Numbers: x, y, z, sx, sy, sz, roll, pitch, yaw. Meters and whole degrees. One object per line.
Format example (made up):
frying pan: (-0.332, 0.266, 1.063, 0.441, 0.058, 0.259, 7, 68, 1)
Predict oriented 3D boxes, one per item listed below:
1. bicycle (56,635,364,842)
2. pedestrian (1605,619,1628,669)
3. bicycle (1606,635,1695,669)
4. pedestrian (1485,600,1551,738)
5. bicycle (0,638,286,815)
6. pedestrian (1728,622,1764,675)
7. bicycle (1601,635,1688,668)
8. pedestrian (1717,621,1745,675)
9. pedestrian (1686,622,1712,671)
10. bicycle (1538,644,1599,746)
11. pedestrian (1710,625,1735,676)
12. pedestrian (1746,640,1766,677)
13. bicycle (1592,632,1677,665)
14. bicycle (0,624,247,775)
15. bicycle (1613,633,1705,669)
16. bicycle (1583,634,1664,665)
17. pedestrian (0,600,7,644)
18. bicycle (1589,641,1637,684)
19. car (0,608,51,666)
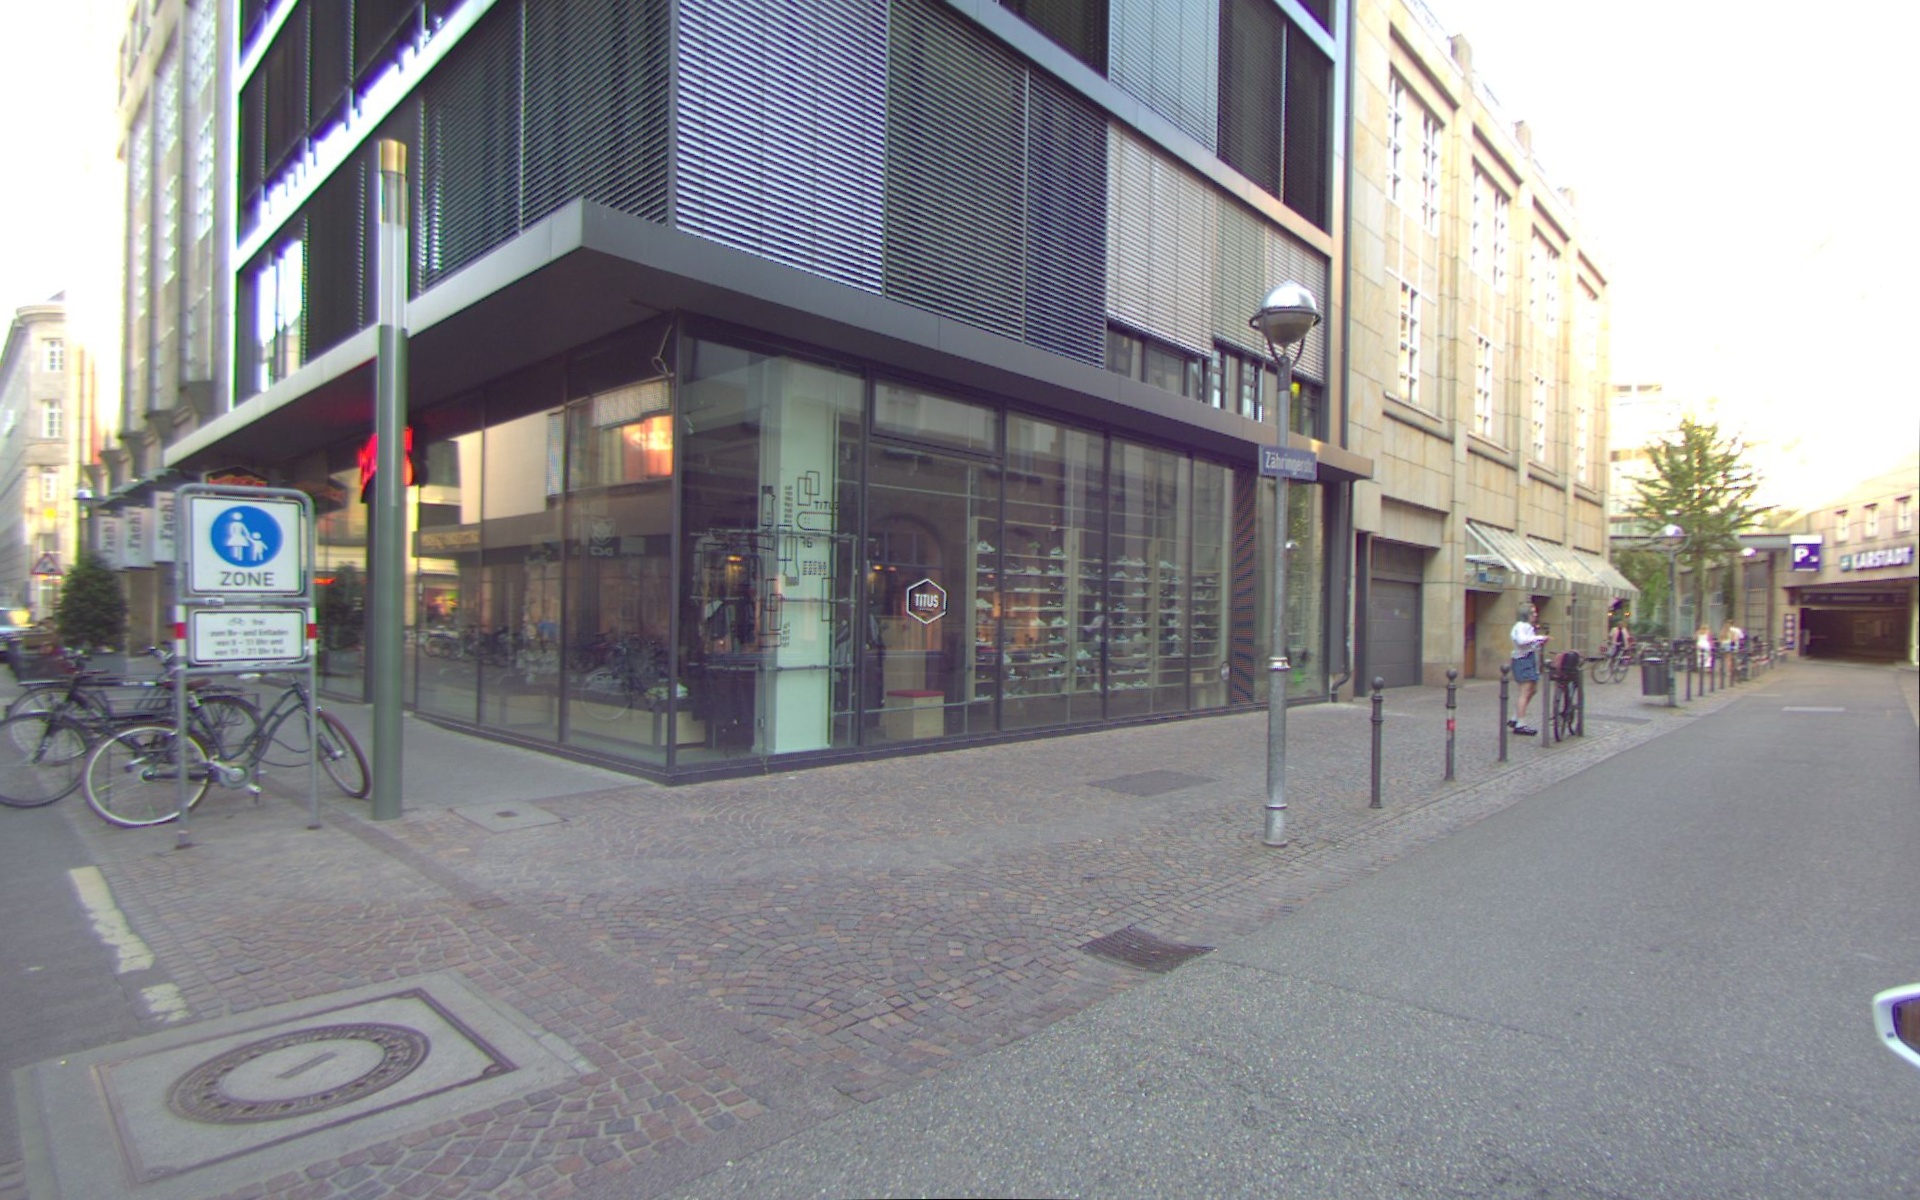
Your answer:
bicycle: (-5.201, 0.896, 7.057, 0.502, 1.220, 1.661, 0, 1, 43)
pedestrian: (23.814, 1.571, 36.447, 0.646, 1.787, 0.615, 0, -1, 30)
bicycle: (26.457, 1.972, 38.554, 2.714, 1.216, 0.733, 0, -1, 25)
pedestrian: (7.632, 0.917, 13.727, 0.602, 1.815, 0.905, 0, -1, 42)
bicycle: (-6.462, 0.927, 7.879, 0.510, 1.197, 1.893, 0, 0, 42)
pedestrian: (27.129, 1.663, 34.672, 0.854, 1.780, 0.794, 1, -1, 44)
bicycle: (26.864, 2.001, 39.472, 2.714, 1.216, 0.733, 0, -1, 25)
pedestrian: (26.229, 1.615, 34.175, 0.623, 1.780, 0.794, 1, 0, 44)
pedestrian: (24.972, 1.577, 33.930, 0.584, 1.625, 0.661, 1, 0, 44)
bicycle: (8.161, 1.233, 13.440, 0.407, 1.248, 1.818, 0, -1, 40)
pedestrian: (25.229, 1.667, 33.237, 0.578, 1.625, 0.624, 1, 0, 44)
pedestrian: (26.344, 1.925, 33.235, 0.461, 1.183, 0.518, 1, 0, 44)
bicycle: (27.076, 1.939, 40.370, 2.714, 1.216, 0.757, 0, -1, 25)
bicycle: (-8.207, 0.913, 9.852, 0.531, 1.286, 1.892, 0, 1, 44)
bicycle: (25.826, 1.872, 37.162, 2.714, 1.216, 0.733, 0, -1, 25)
bicycle: (27.493, 2.048, 41.699, 2.714, 1.216, 0.733, 0, -1, 25)
pedestrian: (-36.182, 0.814, 37.396, 0.623, 1.643, 0.783, 2, 0, 4)
bicycle: (17.657, 1.662, 27.141, 2.224, 1.096, 0.476, 2, -1, -41)
car: (-25.251, 0.946, 26.670, 1.592, 1.442, 3.560, 1, -1, -42)
